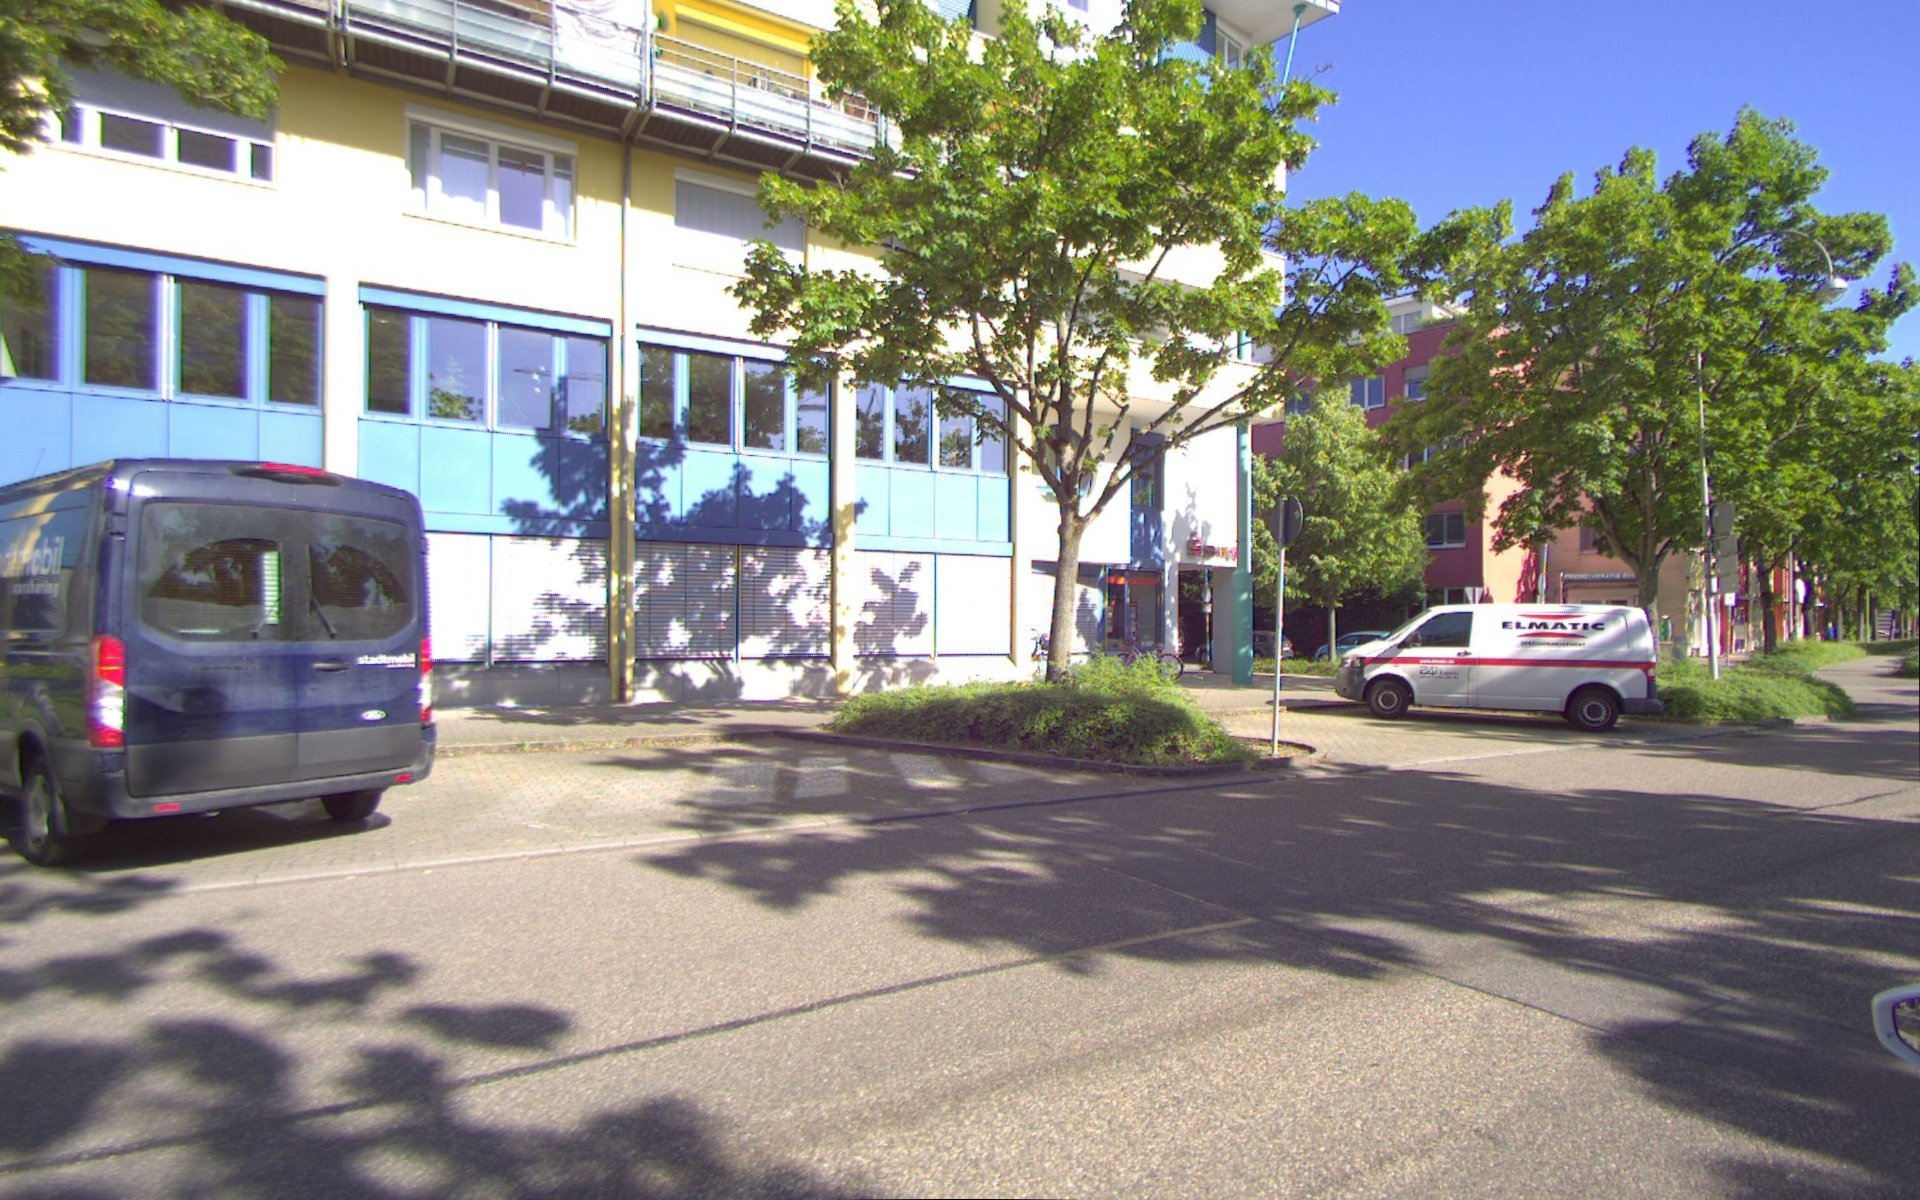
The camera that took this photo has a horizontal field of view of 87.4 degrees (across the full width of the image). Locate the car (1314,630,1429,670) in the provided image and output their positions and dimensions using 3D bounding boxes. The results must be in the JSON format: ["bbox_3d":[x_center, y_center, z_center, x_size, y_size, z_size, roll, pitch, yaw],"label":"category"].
[{"bbox_3d":[16.870,2.001,41.294,1.923,1.470,3.958,-2,0,-43],"label":"car"}]

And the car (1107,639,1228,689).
[{"bbox_3d":[7.878,2.391,38.418,1.986,1.615,4.195,0,0,-43],"label":"car"}]

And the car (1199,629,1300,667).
[{"bbox_3d":[13.060,2.129,45.410,1.923,1.524,3.958,-2,0,-43],"label":"car"}]

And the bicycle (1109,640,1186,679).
[{"bbox_3d":[4.576,1.448,24.506,1.768,0.883,0.492,1,-1,19],"label":"bicycle"}]

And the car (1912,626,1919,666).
[{"bbox_3d":[36.049,1.685,34.828,1.724,1.442,4.228,1,0,-39],"label":"car"}]

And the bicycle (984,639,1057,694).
[{"bbox_3d":[1.282,1.415,21.623,0.693,1.112,1.790,1,-3,-29],"label":"bicycle"}]

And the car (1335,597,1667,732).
[{"bbox_3d":[8.866,0.969,16.951,4.679,2.011,1.999,0,0,23],"label":"car"}]

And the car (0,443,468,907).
[{"bbox_3d":[-6.342,0.396,7.778,5.413,2.469,2.180,0,0,34],"label":"car"}]
